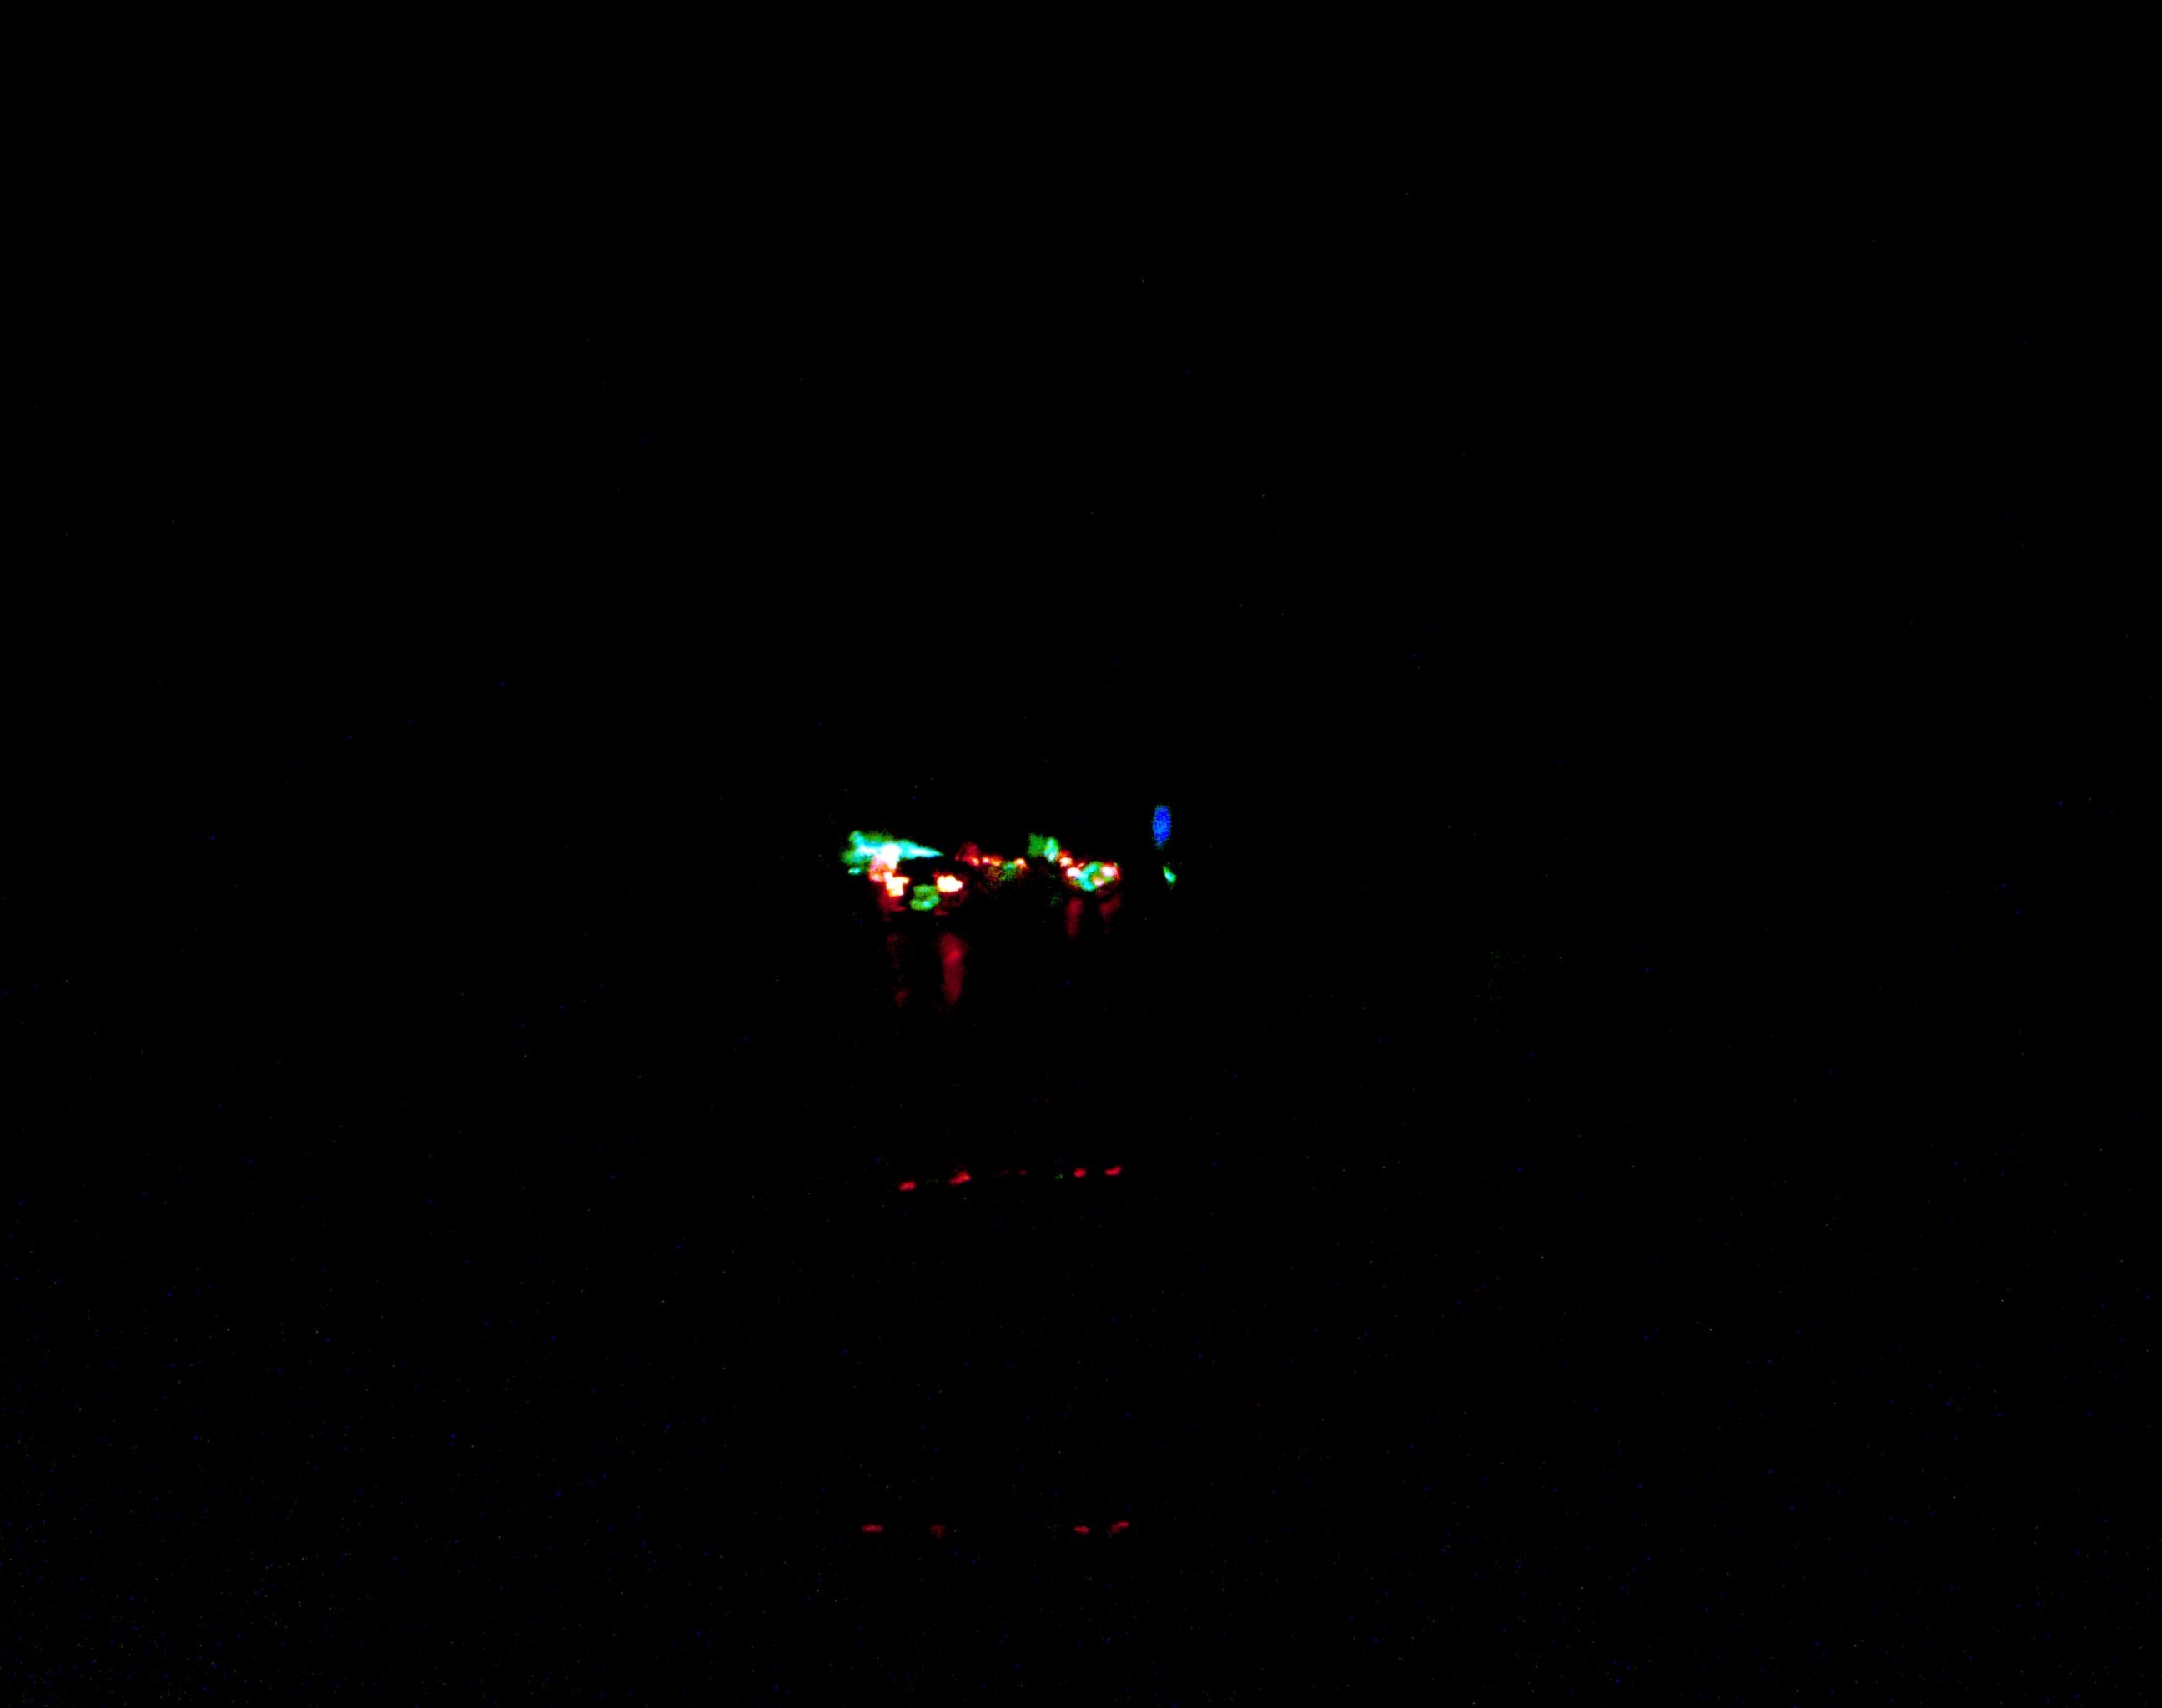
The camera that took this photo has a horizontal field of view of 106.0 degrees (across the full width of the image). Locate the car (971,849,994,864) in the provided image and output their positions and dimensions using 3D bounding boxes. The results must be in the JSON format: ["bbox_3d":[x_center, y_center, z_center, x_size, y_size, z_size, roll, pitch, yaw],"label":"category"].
[{"bbox_3d":[-10.102,0.284,83.960,1.886,1.550,4.000,0,0,0],"label":"car"}]

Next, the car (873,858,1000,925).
[{"bbox_3d":[-3.252,0.807,19.228,1.953,1.380,4.054,1,0,5],"label":"car"}]

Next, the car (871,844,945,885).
[{"bbox_3d":[-6.874,0.390,32.831,1.761,1.517,4.917,0,0,2],"label":"car"}]

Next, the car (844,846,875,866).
[{"bbox_3d":[-22.423,0.205,82.613,1.988,2.014,4.806,0,0,-2],"label":"car"}]
